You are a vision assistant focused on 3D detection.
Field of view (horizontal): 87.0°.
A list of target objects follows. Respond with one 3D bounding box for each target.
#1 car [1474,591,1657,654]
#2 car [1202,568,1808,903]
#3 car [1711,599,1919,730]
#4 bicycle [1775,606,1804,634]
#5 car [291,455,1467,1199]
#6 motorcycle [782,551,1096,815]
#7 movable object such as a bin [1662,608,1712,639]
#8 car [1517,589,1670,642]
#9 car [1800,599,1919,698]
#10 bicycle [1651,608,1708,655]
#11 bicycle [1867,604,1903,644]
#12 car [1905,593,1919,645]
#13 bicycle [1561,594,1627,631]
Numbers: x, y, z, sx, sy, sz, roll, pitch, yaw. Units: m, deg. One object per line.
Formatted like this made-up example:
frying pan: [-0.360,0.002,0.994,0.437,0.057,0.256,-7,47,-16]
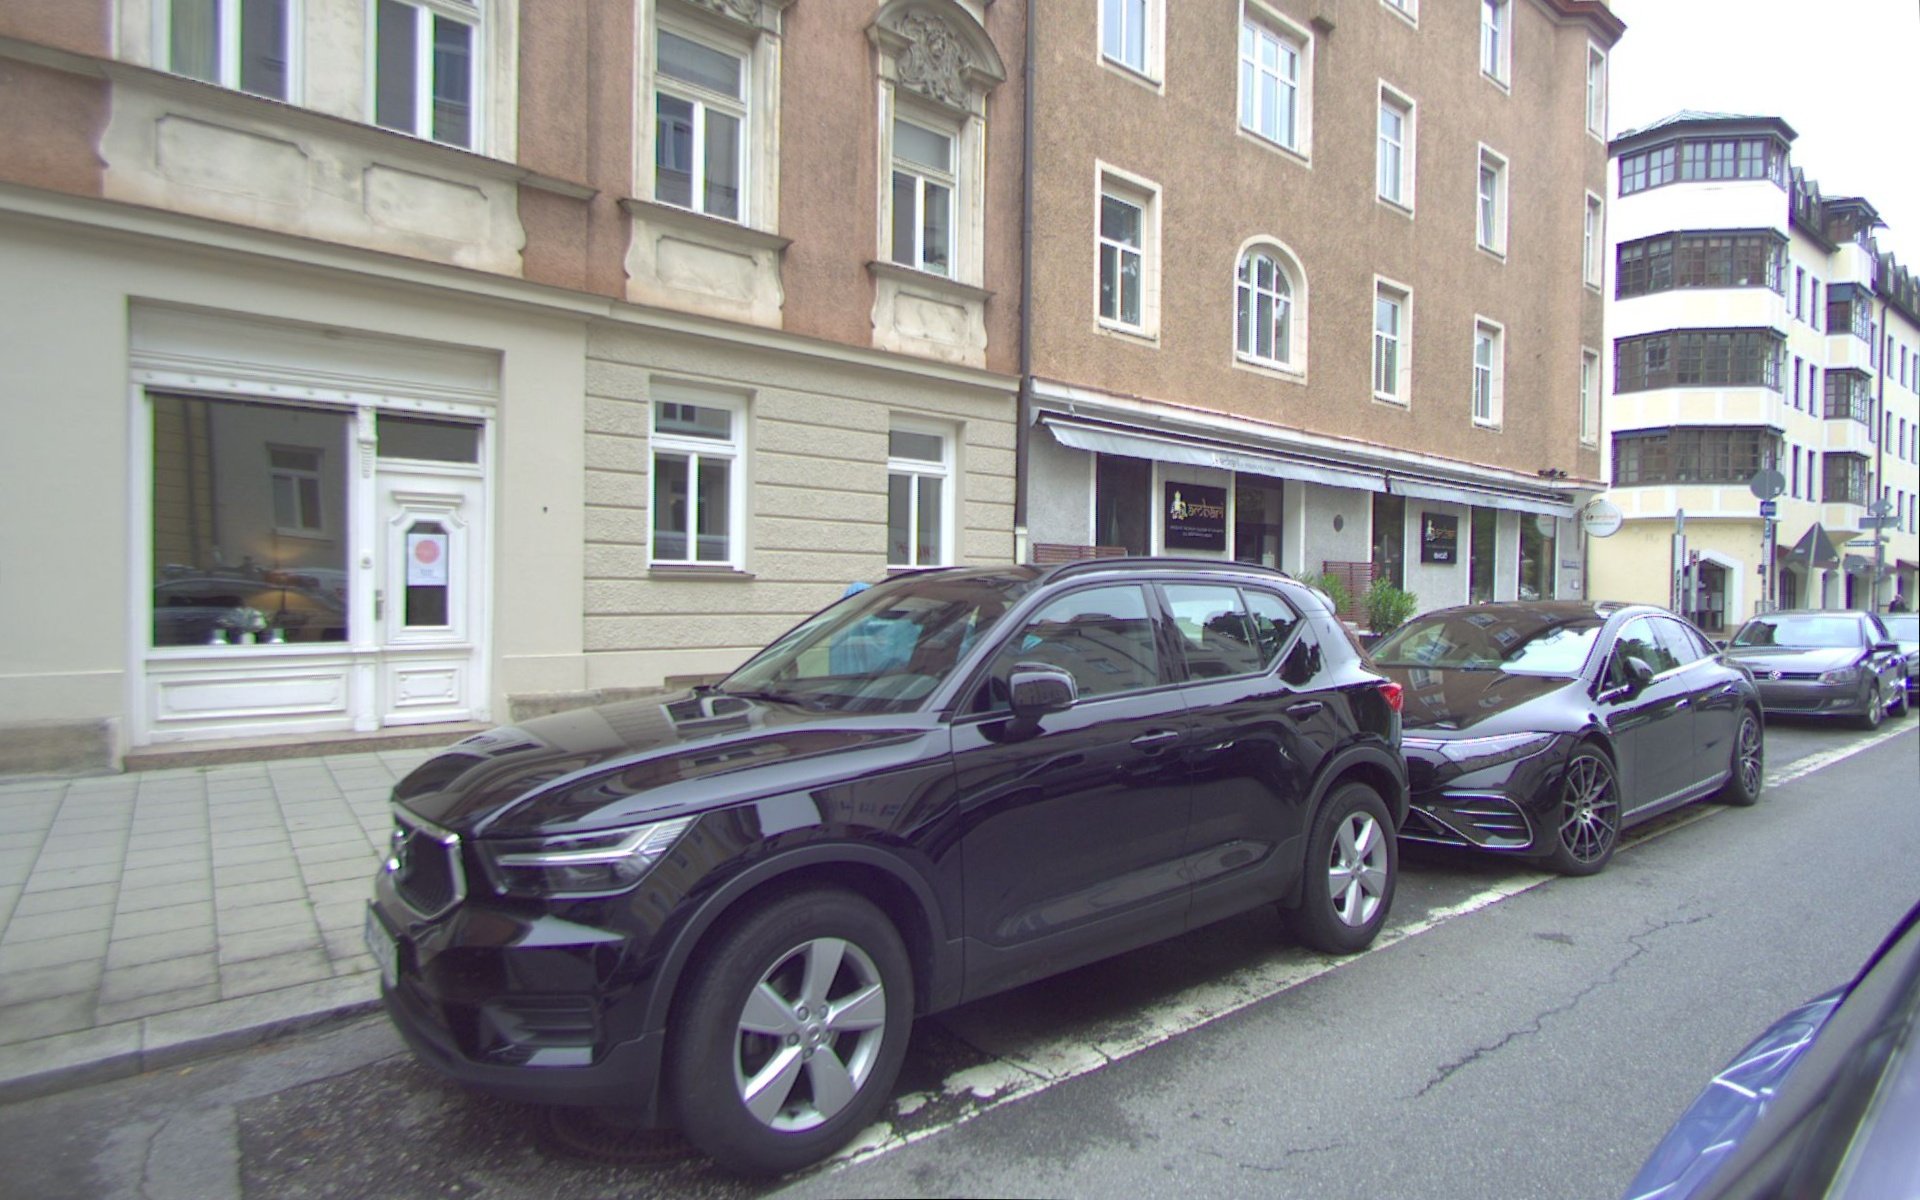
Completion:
car: [16.395,0.540,27.548,1.857,1.506,3.884,0,2,-37]
car: [4.232,0.632,7.280,5.536,1.572,1.935,0,0,-40]
car: [11.472,0.725,13.358,4.108,1.412,1.576,-1,2,-40]
bicycle: [28.345,0.676,34.571,1.663,0.912,0.263,-1,6,-36]
car: [0.053,0.604,3.941,4.326,1.698,1.697,0,-2,-38]
motorcycle: [-0.105,0.473,6.782,1.960,1.524,0.874,0,0,-37]
movable object such as a bin: [22.828,0.719,31.798,0.671,0.911,1.126,0,2,-37]
car: [20.211,0.463,32.423,1.717,1.458,3.748,3,0,-34]
car: [15.606,0.714,16.639,4.701,1.422,1.851,0,1,-39]
bicycle: [16.718,0.727,23.494,1.768,1.018,0.497,2,2,-36]
bicycle: [28.403,0.724,31.073,2.015,1.173,0.431,-1,2,-37]
car: [32.287,0.611,32.546,4.414,1.643,2.112,0,1,-38]
bicycle: [22.143,0.424,35.382,0.506,1.201,1.906,1,1,-37]
